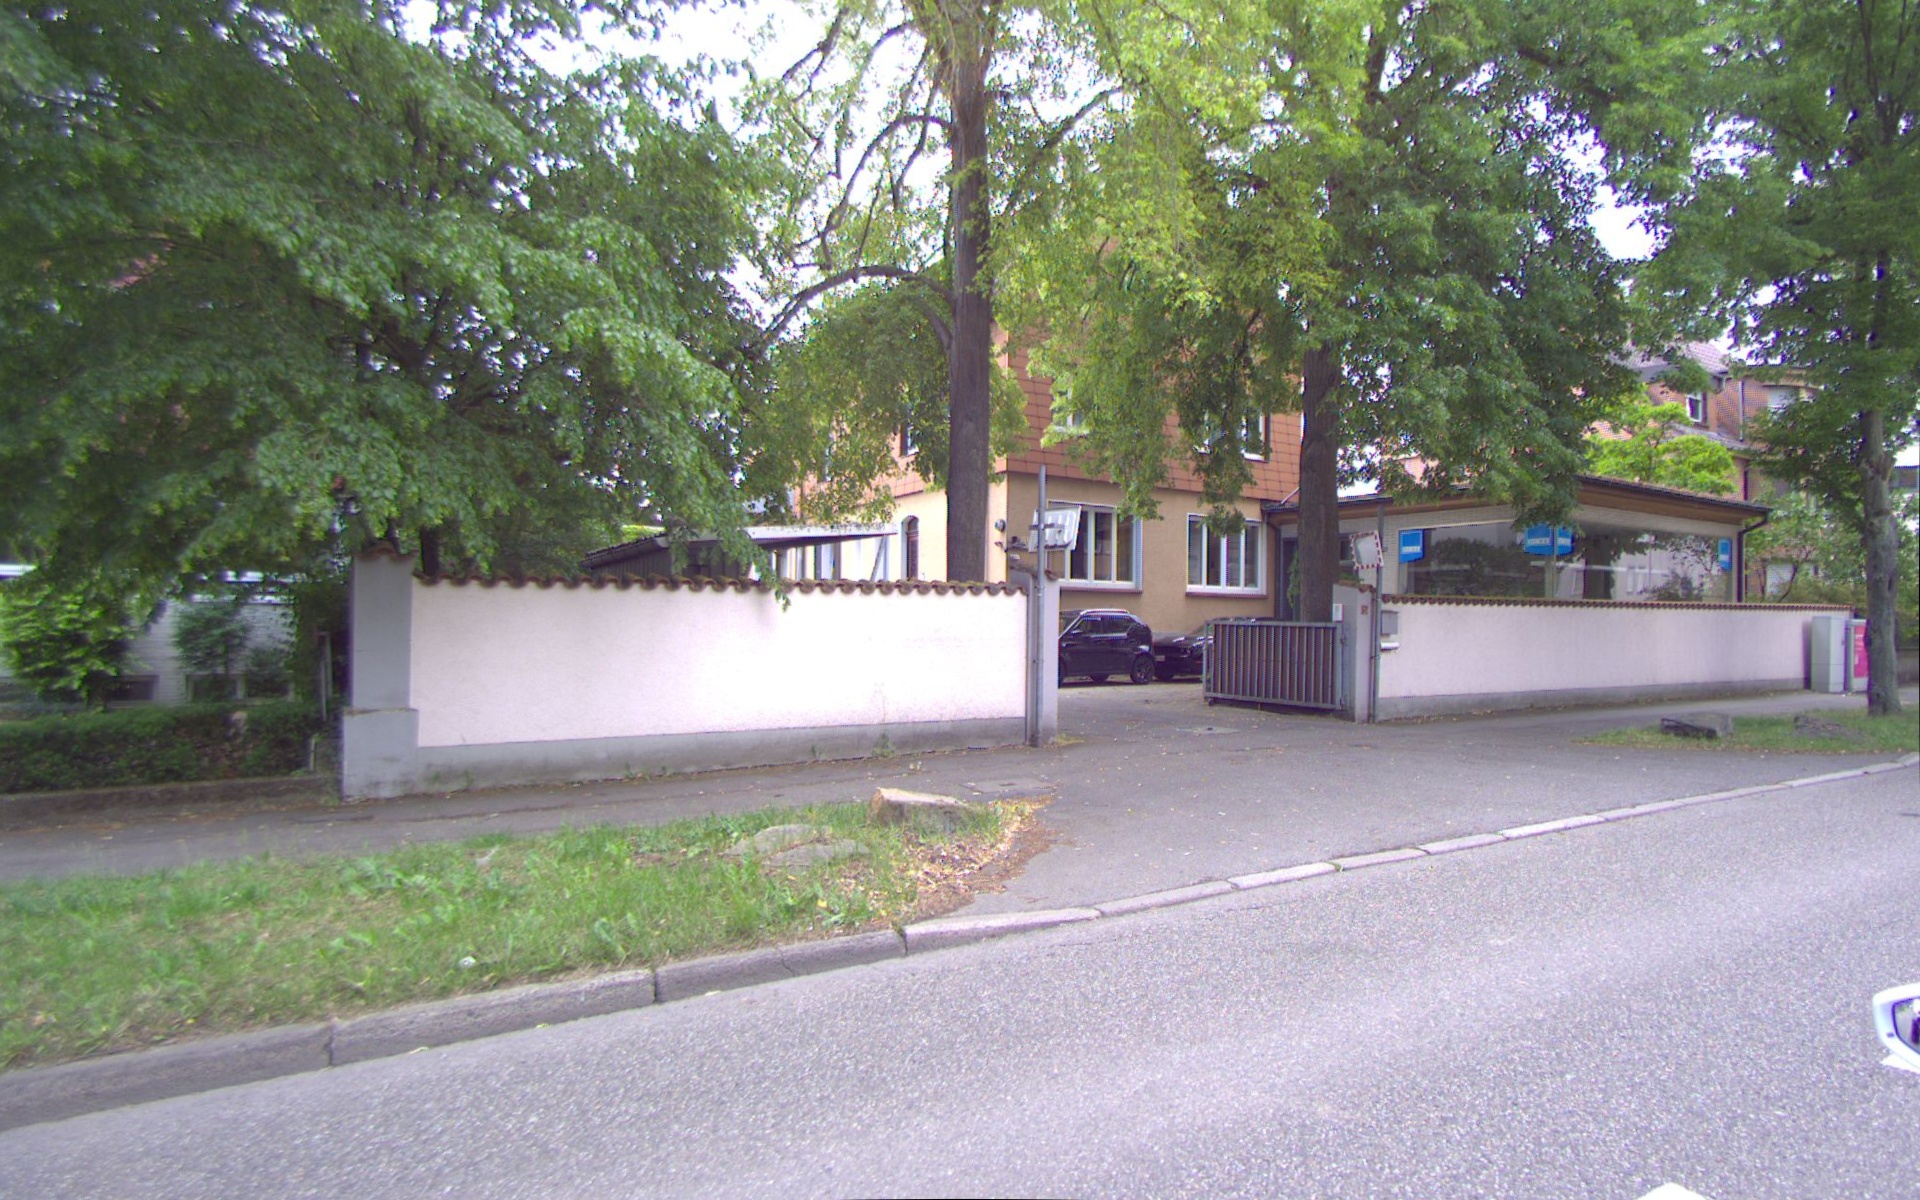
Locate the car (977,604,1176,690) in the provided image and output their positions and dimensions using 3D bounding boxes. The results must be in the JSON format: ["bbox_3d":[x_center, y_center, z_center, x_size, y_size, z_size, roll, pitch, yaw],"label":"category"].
[{"bbox_3d":[2.517,0.964,21.466,3.955,1.662,1.771,2,0,-31],"label":"car"}]

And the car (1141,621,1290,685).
[{"bbox_3d":[5.873,1.190,23.015,3.360,1.347,1.333,2,0,-32],"label":"car"}]
